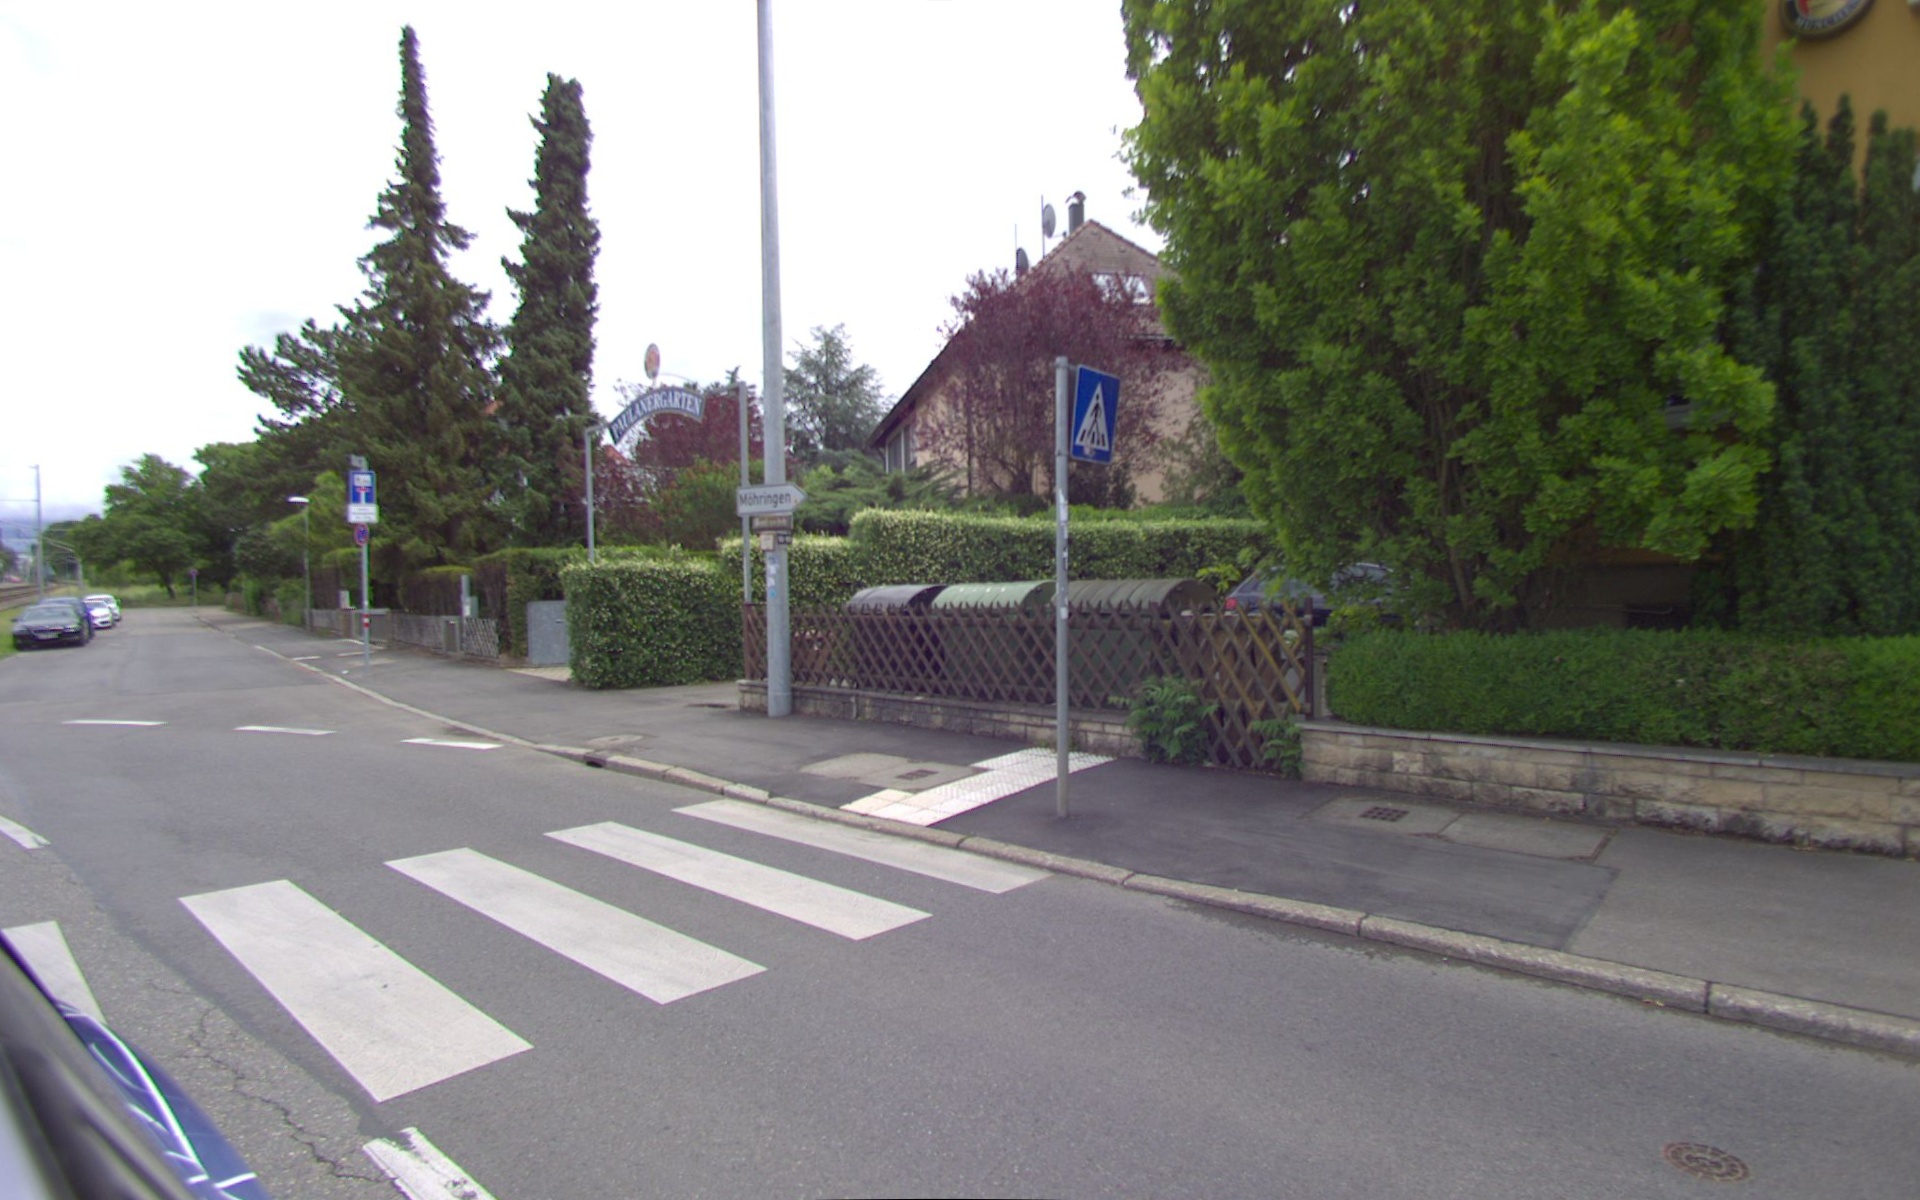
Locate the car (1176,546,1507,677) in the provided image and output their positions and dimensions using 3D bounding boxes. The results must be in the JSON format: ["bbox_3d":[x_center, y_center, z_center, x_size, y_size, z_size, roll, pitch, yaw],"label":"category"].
[{"bbox_3d":[4.935,0.149,13.357,3.679,1.438,1.703,-2,2,43],"label":"car"}]

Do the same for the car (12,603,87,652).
[{"bbox_3d":[-31.095,0.894,34.653,1.794,1.513,4.125,-2,1,-41],"label":"car"}]

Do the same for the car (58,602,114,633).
[{"bbox_3d":[-41.646,0.799,48.302,1.825,1.386,4.008,-2,1,-39],"label":"car"}]

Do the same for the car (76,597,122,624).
[{"bbox_3d":[-48.414,0.576,56.959,1.825,1.386,4.008,-2,1,-39],"label":"car"}]

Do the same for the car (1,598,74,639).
[{"bbox_3d":[-36.680,0.694,40.321,1.825,1.492,4.008,-2,1,-39],"label":"car"}]
